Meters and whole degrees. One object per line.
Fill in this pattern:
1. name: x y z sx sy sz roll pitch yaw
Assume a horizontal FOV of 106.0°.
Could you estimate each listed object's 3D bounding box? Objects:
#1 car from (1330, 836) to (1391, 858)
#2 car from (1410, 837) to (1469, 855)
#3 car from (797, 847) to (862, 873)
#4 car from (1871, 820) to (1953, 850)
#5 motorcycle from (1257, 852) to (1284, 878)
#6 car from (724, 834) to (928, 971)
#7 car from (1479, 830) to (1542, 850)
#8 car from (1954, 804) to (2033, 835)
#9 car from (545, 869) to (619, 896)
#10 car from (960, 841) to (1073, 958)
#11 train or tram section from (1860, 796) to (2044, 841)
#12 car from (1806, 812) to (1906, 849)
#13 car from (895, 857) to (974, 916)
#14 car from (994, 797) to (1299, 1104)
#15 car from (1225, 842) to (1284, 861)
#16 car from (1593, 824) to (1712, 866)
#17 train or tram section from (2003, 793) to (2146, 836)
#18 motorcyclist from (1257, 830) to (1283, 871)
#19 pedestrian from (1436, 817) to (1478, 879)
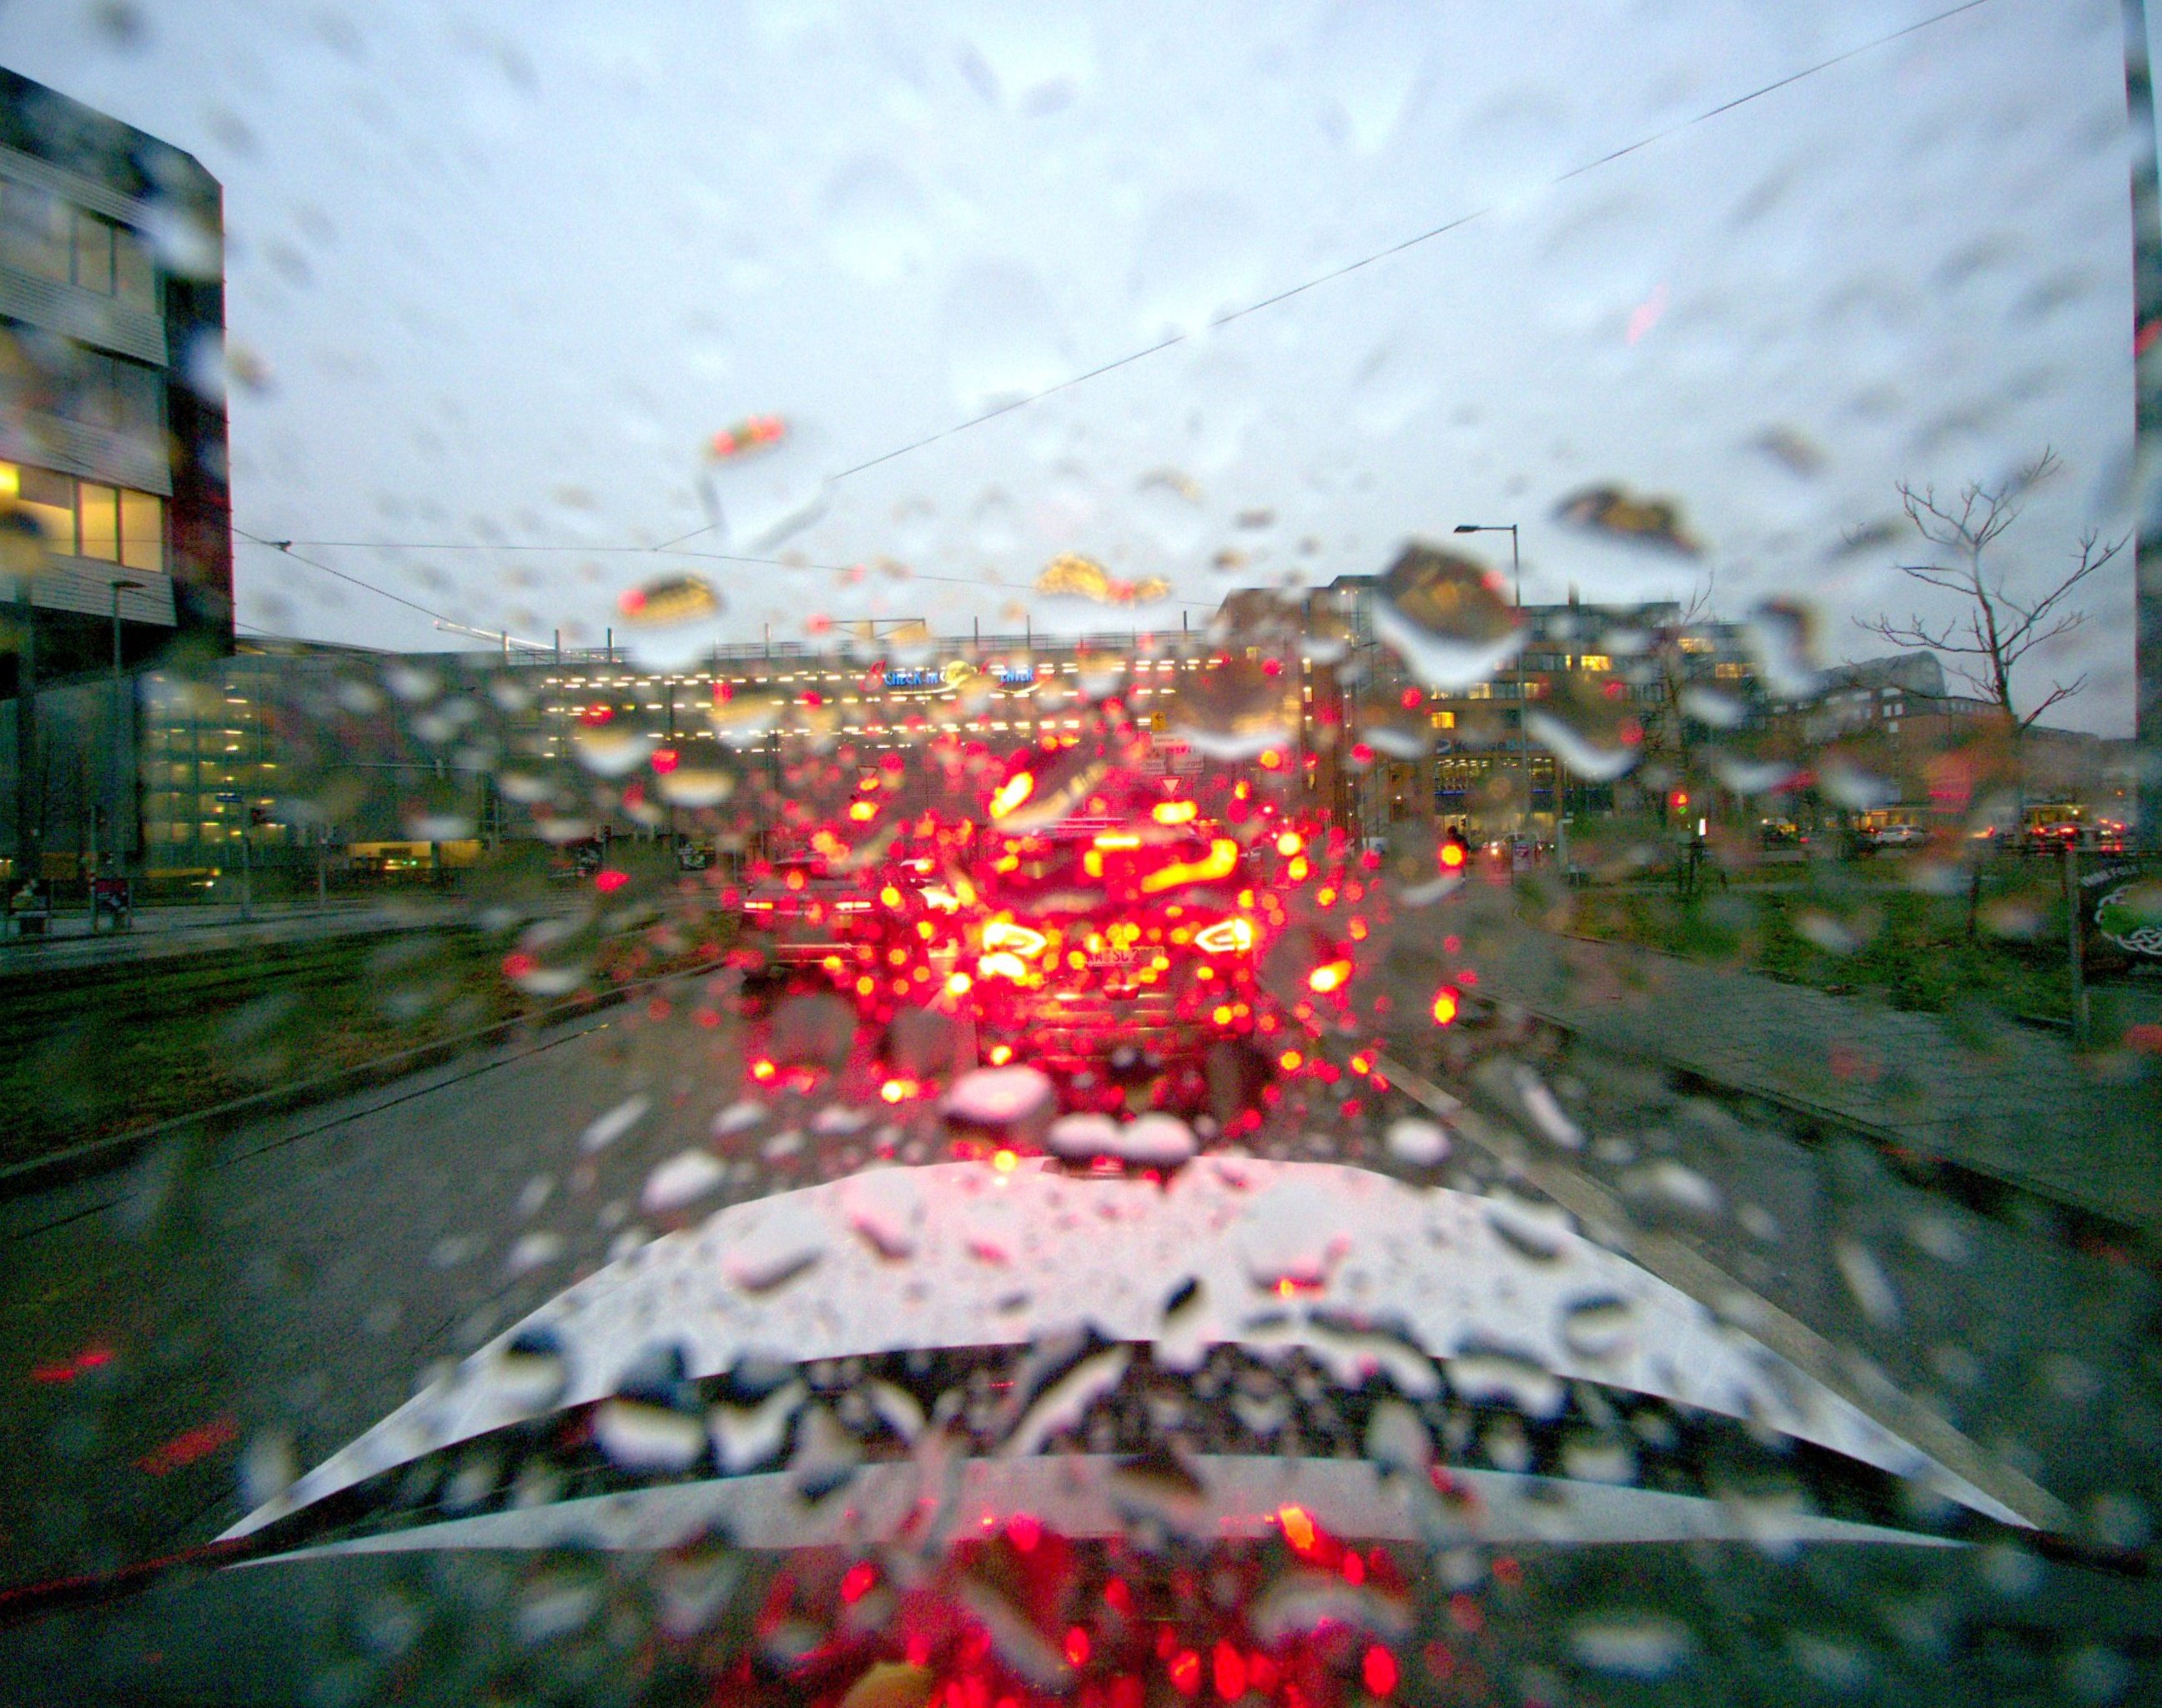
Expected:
1. car: 22.820 -0.574 66.582 4.413 1.595 1.796 -2 0 -6
2. car: 29.817 -0.663 67.786 4.209 1.390 1.796 -2 0 -6
3. car: -20.862 0.515 67.645 4.831 2.000 1.797 -2 0 -5
4. car: 56.604 -1.280 55.492 3.985 2.013 1.994 0 0 -9
5. motorcycle: 7.343 0.423 31.622 0.848 0.972 1.585 -2 0 7
6. car: -3.400 0.583 11.689 1.748 1.574 3.997 -2 0 -2
7. car: 36.282 -1.173 68.844 4.425 1.534 1.796 -2 0 -6
8. car: 64.282 -2.397 57.357 4.948 2.013 1.987 0 0 -20
9. car: -41.365 2.318 67.579 4.831 2.000 1.797 -2 0 -5
10. car: -1.024 0.675 13.842 1.632 1.697 3.667 -1 0 -3
11. train or tram section: 70.972 -2.910 66.253 16.626 3.260 2.326 -2 0 -14
12. car: 42.837 -1.287 45.044 3.987 1.874 1.994 -3 1 -10
13. car: -3.453 0.710 19.736 1.538 1.251 4.059 -1 0 -6
14. car: 0.368 0.545 6.772 1.730 1.738 4.246 1 0 0
15. car: 14.093 -0.225 66.280 4.413 1.390 1.796 -2 0 -6
16. car: 27.644 -0.431 39.446 4.664 1.851 1.827 -2 -1 -7
17. train or tram section: 85.097 -3.384 69.709 12.974 3.260 2.326 -2 0 -14
18. motorcyclist: 7.332 -0.142 31.639 0.863 1.534 1.110 -2 0 7
19. pedestrian: 11.842 -0.197 25.661 1.159 1.924 0.904 1 0 25
